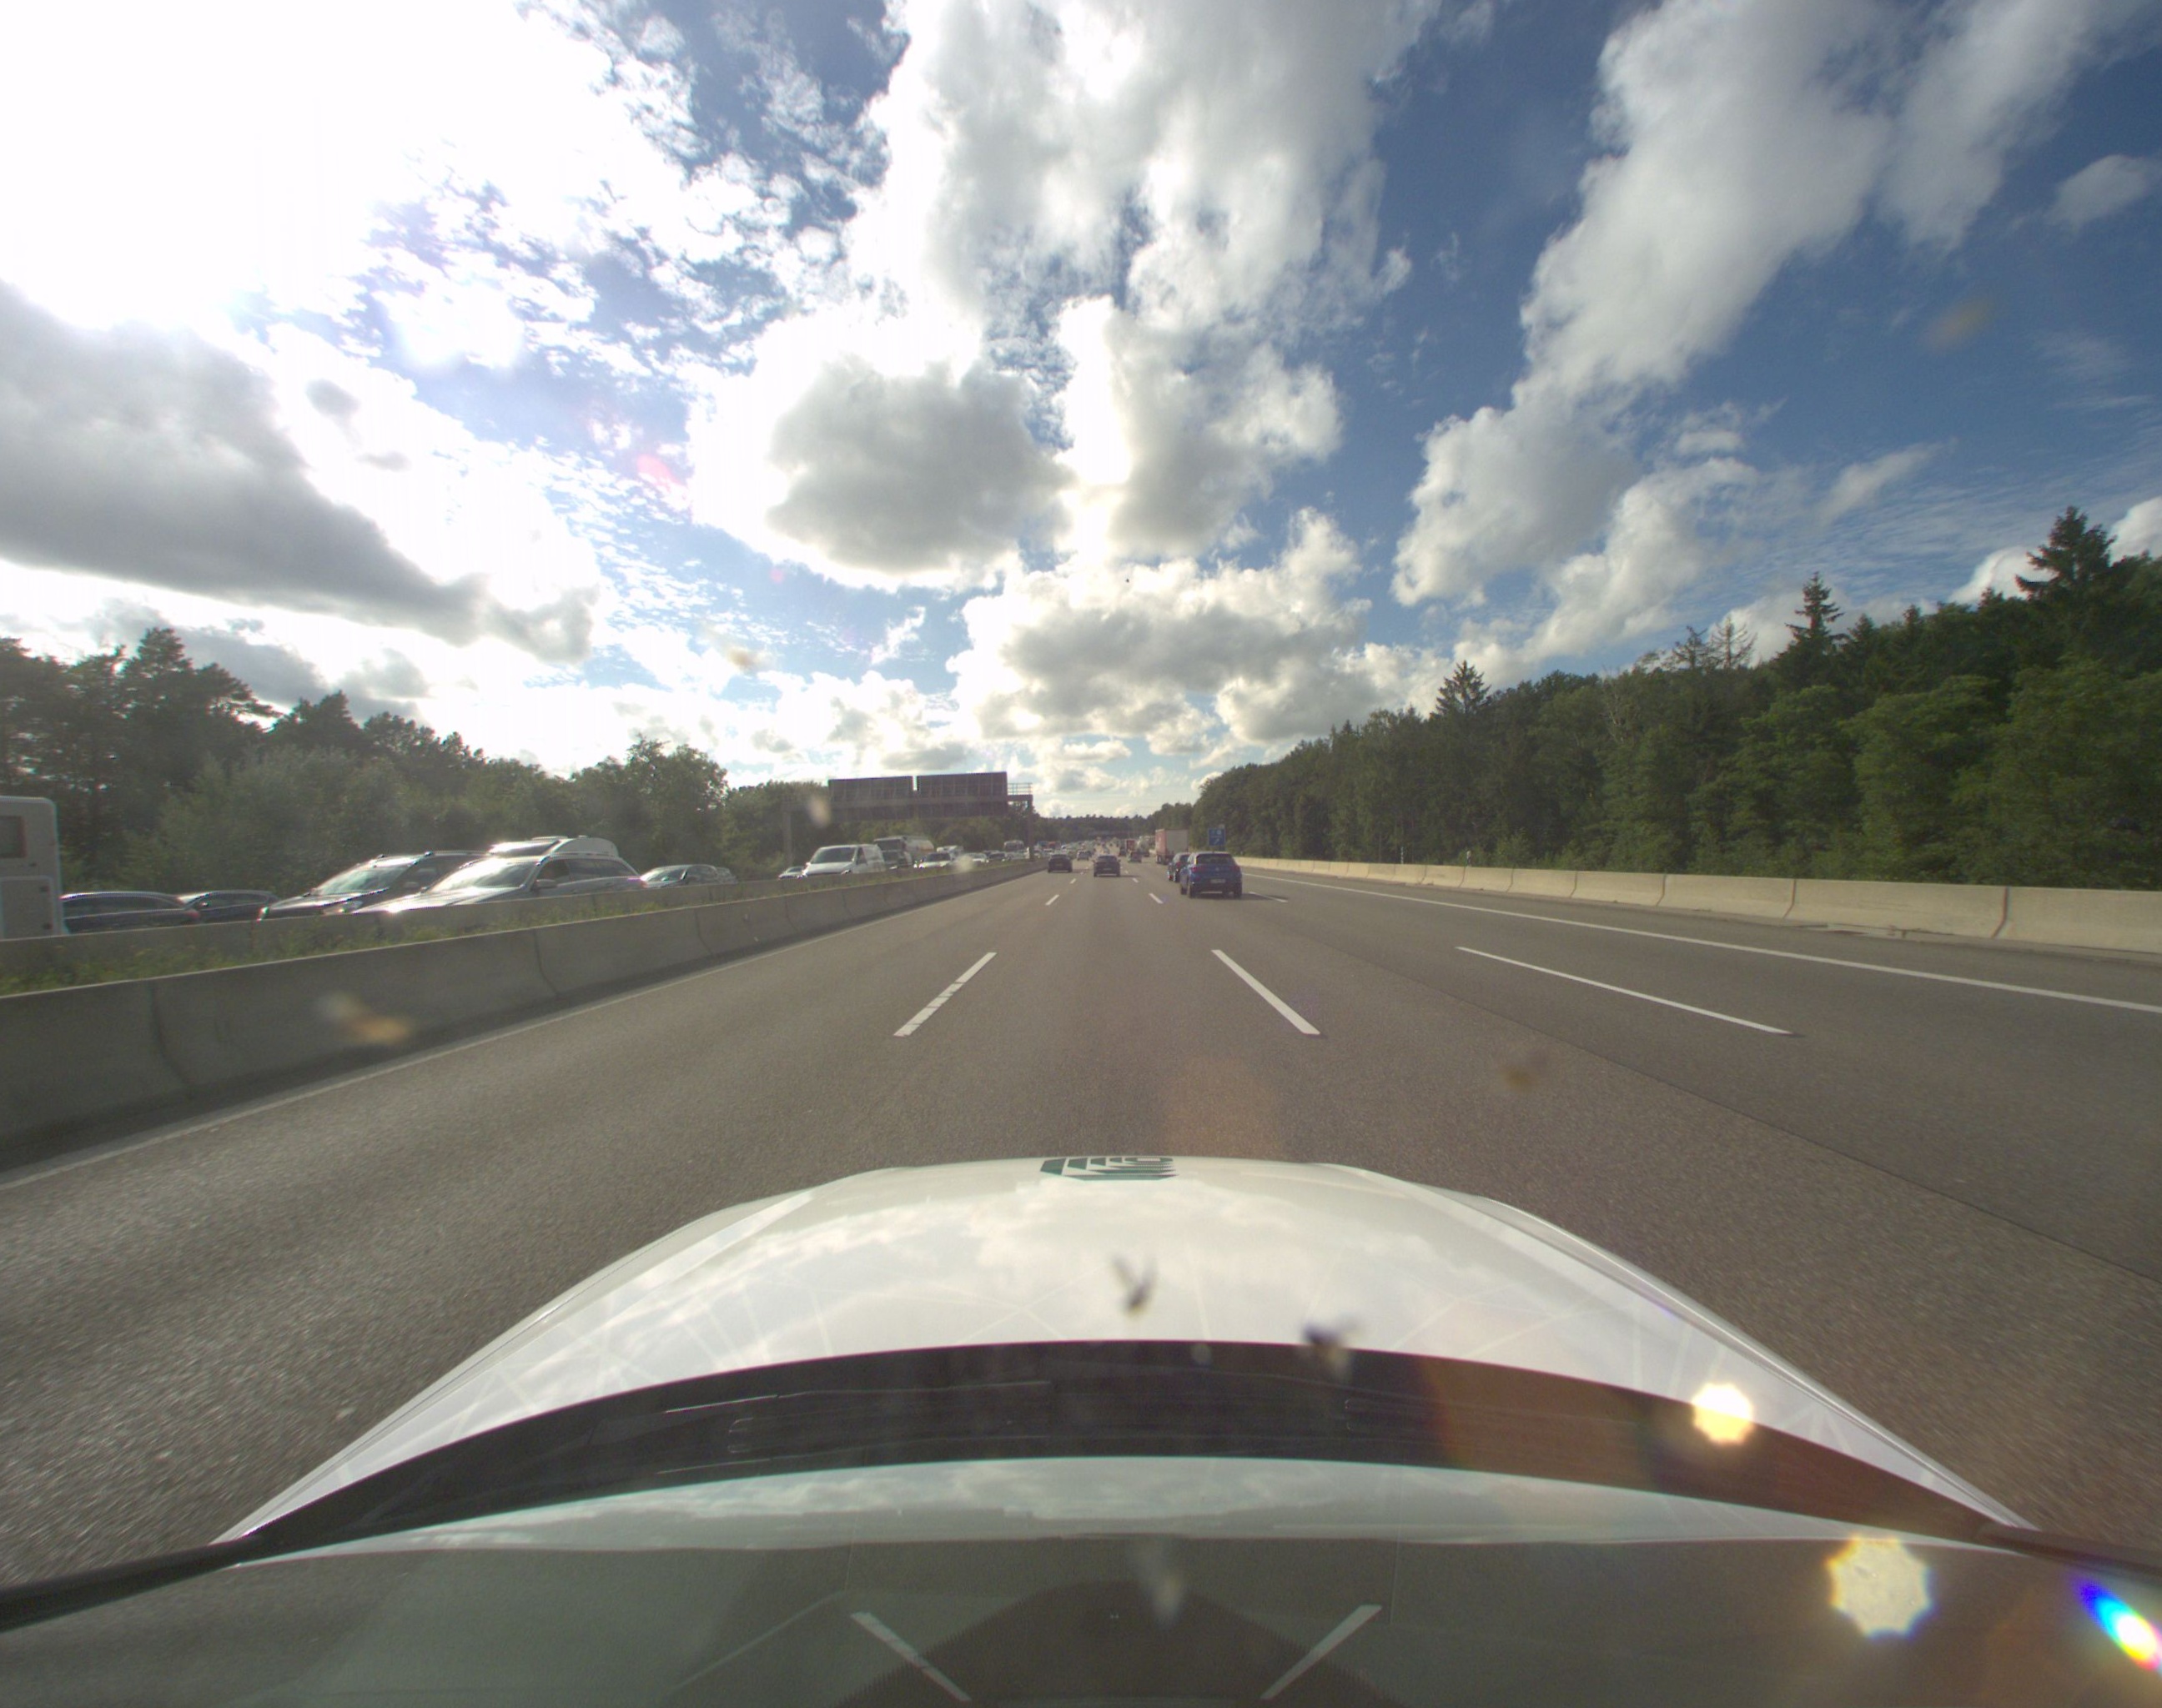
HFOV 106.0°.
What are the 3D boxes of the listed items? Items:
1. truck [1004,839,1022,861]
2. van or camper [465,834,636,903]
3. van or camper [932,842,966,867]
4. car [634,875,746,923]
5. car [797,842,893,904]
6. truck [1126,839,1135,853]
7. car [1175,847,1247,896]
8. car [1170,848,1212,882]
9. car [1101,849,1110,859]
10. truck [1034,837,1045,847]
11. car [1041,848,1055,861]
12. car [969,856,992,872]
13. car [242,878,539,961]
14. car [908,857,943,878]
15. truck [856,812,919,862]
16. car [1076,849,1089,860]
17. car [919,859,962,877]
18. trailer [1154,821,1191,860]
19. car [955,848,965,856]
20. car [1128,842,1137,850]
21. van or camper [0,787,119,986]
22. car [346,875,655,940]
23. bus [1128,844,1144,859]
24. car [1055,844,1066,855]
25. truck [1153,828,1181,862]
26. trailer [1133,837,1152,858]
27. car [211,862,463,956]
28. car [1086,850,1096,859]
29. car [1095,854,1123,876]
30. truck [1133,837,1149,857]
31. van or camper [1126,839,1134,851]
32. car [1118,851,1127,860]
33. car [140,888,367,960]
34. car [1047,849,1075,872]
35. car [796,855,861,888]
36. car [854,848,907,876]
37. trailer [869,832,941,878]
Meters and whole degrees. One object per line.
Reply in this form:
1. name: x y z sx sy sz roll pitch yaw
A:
1. truck: -13.016 -0.795 155.542 2.842 4.234 5.715 0 0 2
2. van or camper: -16.646 0.413 25.943 2.275 2.011 4.690 0 0 2
3. van or camper: -14.889 0.117 92.399 2.316 2.643 7.400 -1 -1 2
4. car: -11.864 1.326 24.967 1.657 1.257 3.591 0 0 1
5. car: -8.734 0.638 30.666 1.826 2.062 5.501 -2 0 1
6. truck: 13.598 -2.092 225.823 2.348 3.572 11.273 -1 -1 3
7. car: 4.446 0.598 28.593 1.917 1.541 4.647 -1 -1 2
8. car: 5.600 0.532 41.888 1.792 1.644 4.003 0 0 2
9. car: 5.762 0.014 190.086 1.986 2.014 4.001 -2 -1 1
10. truck: -10.799 -3.154 214.510 2.320 2.801 7.951 1 1 1
11. car: -5.717 0.140 140.185 1.986 2.100 5.280 -1 -1 2
12. car: -11.012 1.089 89.387 1.793 1.631 4.664 2 0 1
13. car: -13.016 1.152 15.839 1.826 1.230 4.567 -1 0 1
14. car: -12.066 1.038 63.504 1.826 1.537 4.243 0 0 1
15. truck: -16.009 -1.341 68.027 3.405 3.900 6.803 -1 0 1
16. car: 0.260 0.043 135.650 2.146 1.776 4.002 0 0 2
17. car: -8.113 0.788 47.376 1.637 0.940 4.489 0 0 1
18. trailer: 10.271 -1.340 92.965 3.027 4.035 13.893 0 -1 1
19. car: -34.193 -0.559 230.550 1.986 2.013 4.001 -1 0 2
20. car: 12.622 -1.934 200.622 1.986 2.014 4.001 0 -1 1
21. van or camper: -17.013 0.427 9.495 2.460 2.890 7.484 -1 -1 2
22. car: -8.785 0.754 12.911 1.641 0.724 4.448 -1 0 1
23. bus: 7.379 -0.299 109.495 1.986 2.014 4.001 -1 -1 2
24. car: -4.129 -0.888 166.966 1.986 2.014 4.411 -2 -1 2
25. truck: 10.490 -1.029 99.785 3.068 4.063 6.073 -1 -1 2
26. trailer: 12.600 -1.279 167.888 3.025 4.016 12.247 -1 0 1
27. car: -17.439 1.192 19.469 1.826 1.915 4.482 -1 0 1
28. car: 2.178 0.126 172.708 1.986 2.014 4.001 0 -1 1
29. car: 1.816 0.721 53.483 1.728 1.365 4.001 0 0 1
30. truck: 12.767 -1.407 173.922 3.034 4.160 7.129 -1 0 1
31. van or camper: 13.934 -2.591 232.956 2.342 3.144 5.714 -1 -1 3
32. car: 8.879 0.272 175.160 1.985 2.013 4.003 0 0 3
33. car: -23.277 1.902 23.213 1.826 1.655 4.482 -1 0 1
34. car: -1.593 0.542 66.225 1.986 1.776 4.002 -1 0 2
35. car: -12.468 0.832 40.489 1.826 1.537 4.243 0 0 1
36. car: -12.200 0.457 49.936 2.000 1.655 4.784 0 0 1
37. trailer: -15.837 0.025 74.645 3.399 3.828 13.264 -1 0 1
